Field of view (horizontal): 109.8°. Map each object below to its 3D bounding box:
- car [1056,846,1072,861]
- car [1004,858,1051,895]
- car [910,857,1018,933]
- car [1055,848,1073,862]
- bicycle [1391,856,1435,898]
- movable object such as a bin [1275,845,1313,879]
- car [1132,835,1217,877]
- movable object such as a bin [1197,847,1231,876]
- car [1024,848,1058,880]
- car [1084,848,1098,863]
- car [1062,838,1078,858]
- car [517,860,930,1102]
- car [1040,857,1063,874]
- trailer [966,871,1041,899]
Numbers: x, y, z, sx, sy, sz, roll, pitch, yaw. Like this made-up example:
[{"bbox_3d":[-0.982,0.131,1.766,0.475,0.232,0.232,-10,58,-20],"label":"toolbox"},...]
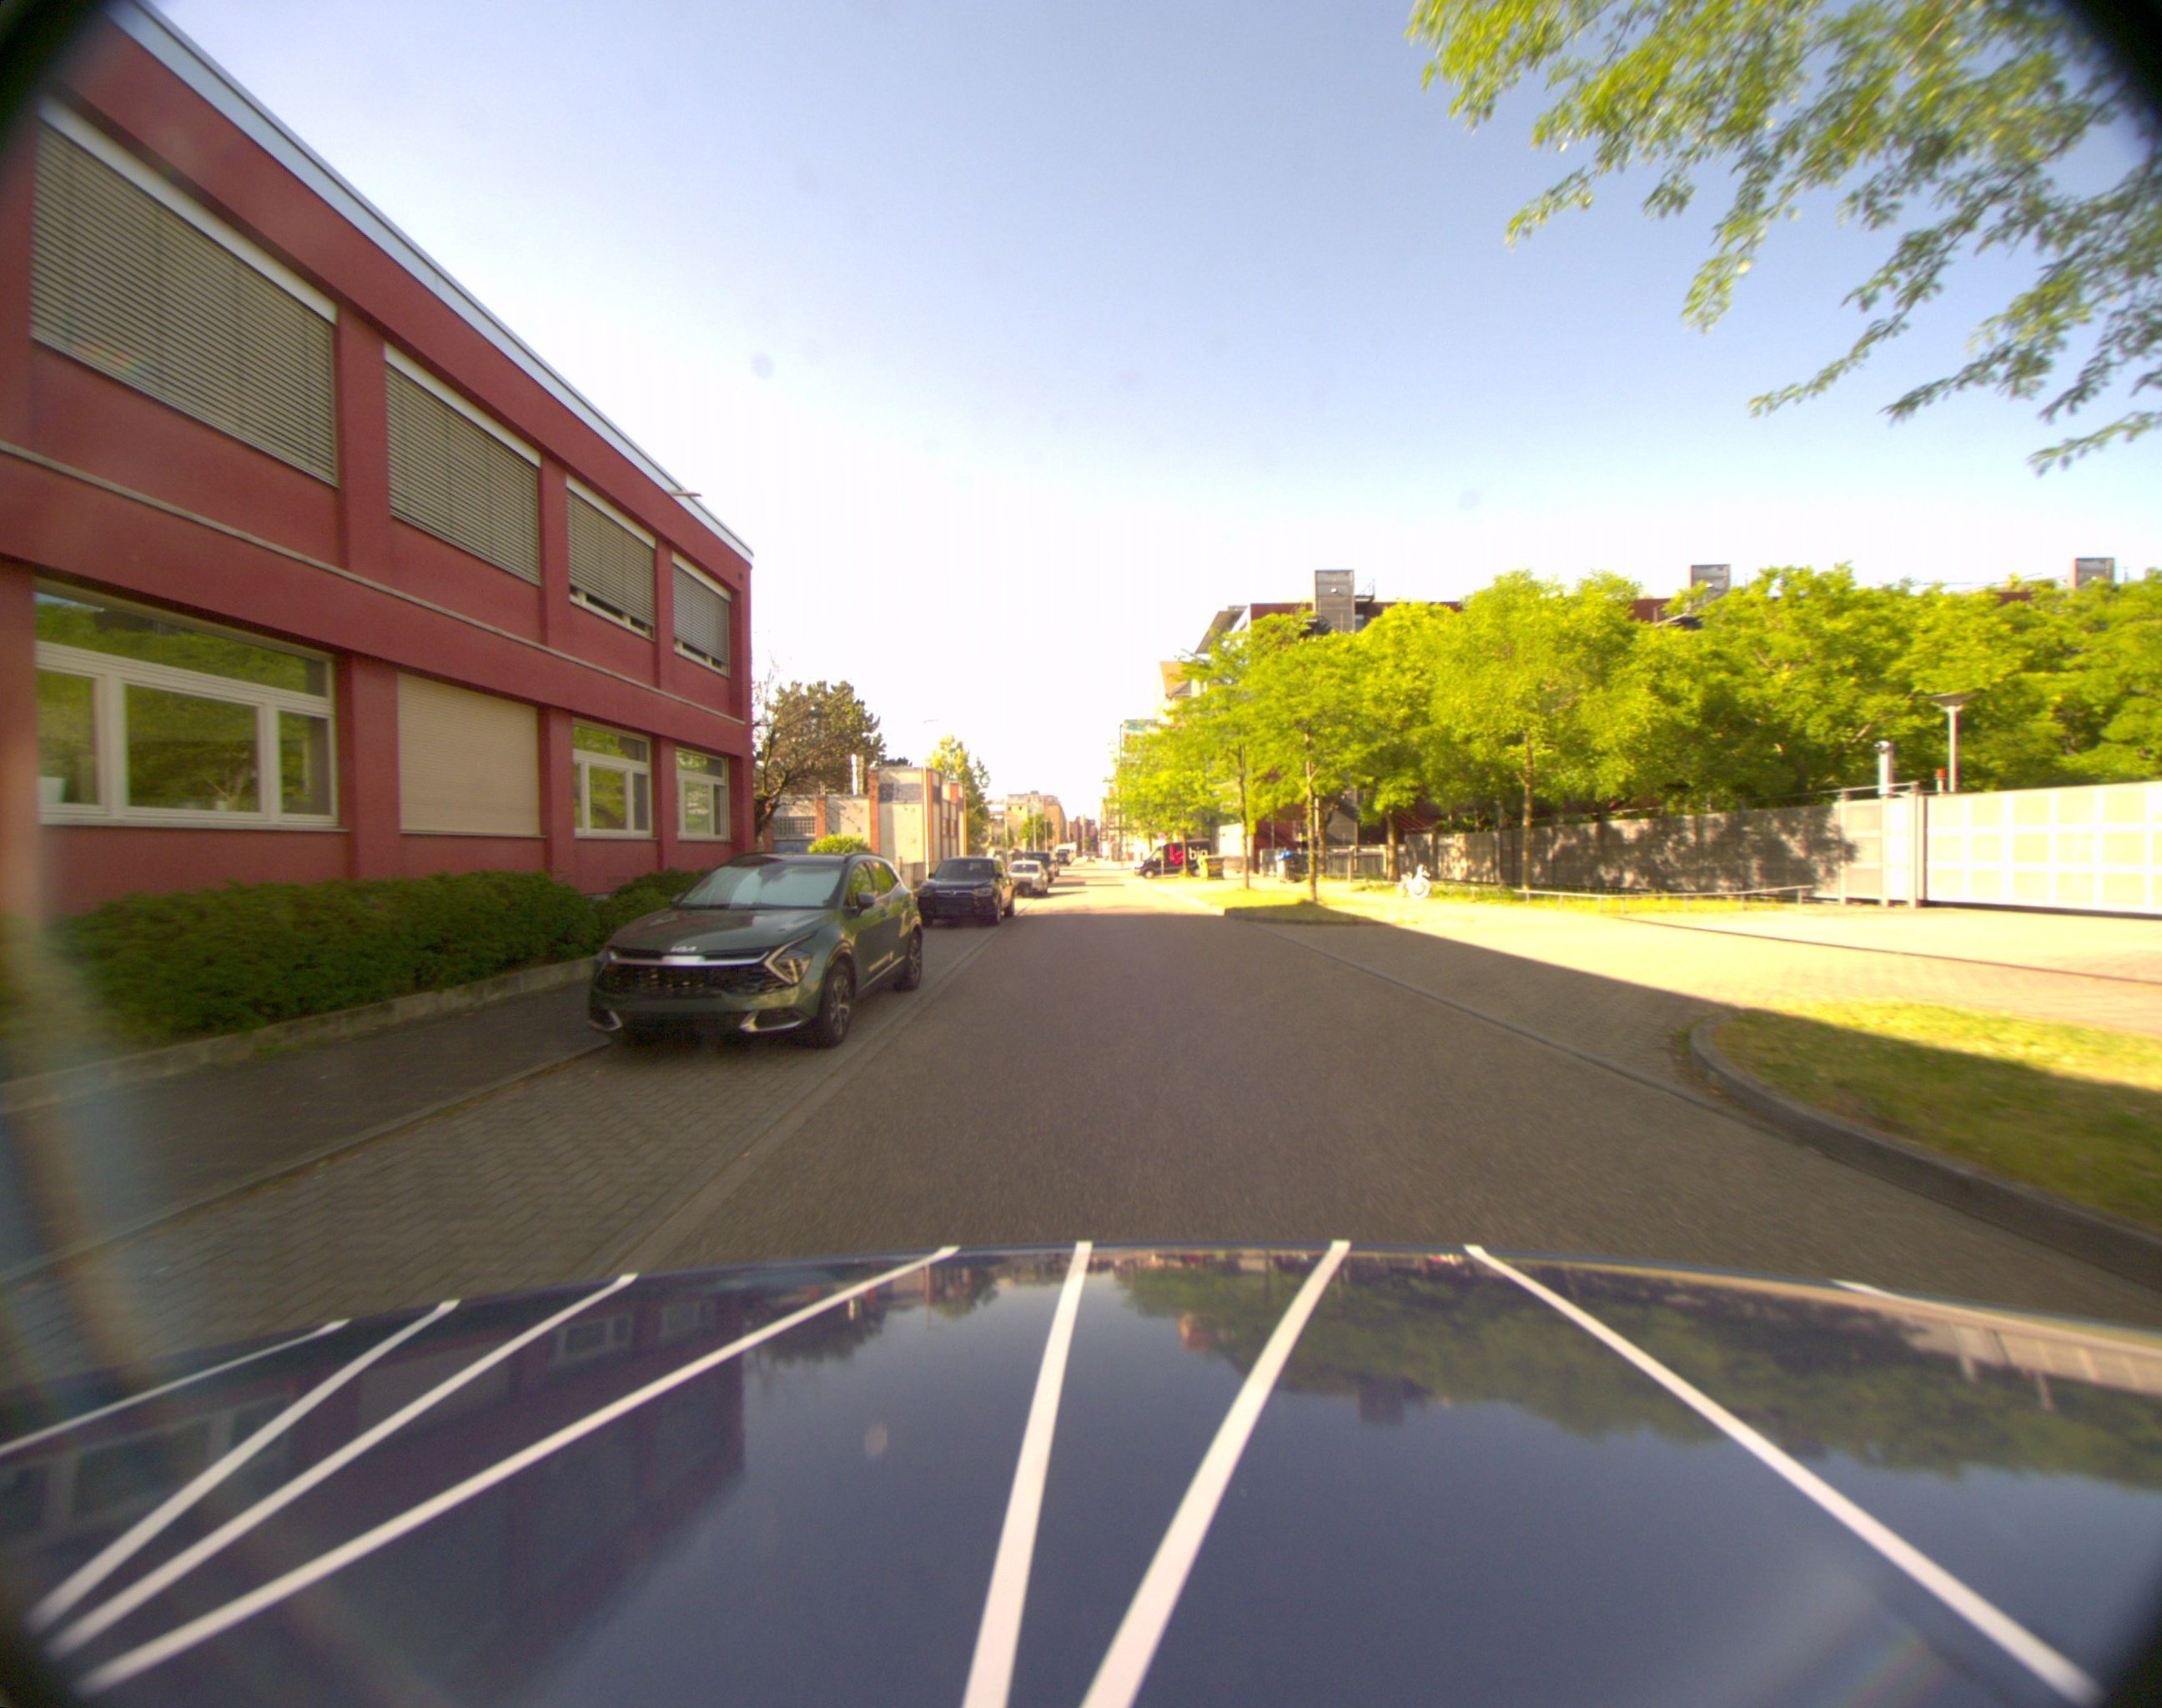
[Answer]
[{"bbox_3d":[-2.140,-0.096,99.535,1.903,1.974,4.372,0,0,1],"label":"car"},{"bbox_3d":[-2.293,0.939,33.218,1.699,1.448,3.889,0,0,1],"label":"car"},{"bbox_3d":[-2.740,0.894,18.784,1.878,1.620,4.406,0,0,1],"label":"car"},{"bbox_3d":[-2.027,0.084,90.777,1.903,1.585,4.372,0,0,1],"label":"car"},{"bbox_3d":[10.167,0.681,23.323,0.602,1.185,1.727,-2,0,1],"label":"bicycle"},{"bbox_3d":[10.373,0.387,36.992,1.522,1.559,1.347,-2,1,5],"label":"movable object such as a bin"},{"bbox_3d":[6.390,0.107,52.295,5.489,2.527,1.986,-3,1,0],"label":"car"},{"bbox_3d":[7.537,0.427,43.161,1.524,1.559,1.345,-2,1,-9],"label":"movable object such as a bin"},{"bbox_3d":[-2.545,0.635,49.274,1.903,1.974,4.372,0,0,1],"label":"car"},{"bbox_3d":[1.445,0.222,106.121,1.903,1.974,4.372,0,0,1],"label":"car"},{"bbox_3d":[-2.123,-1.189,150.723,2.913,3.920,6.326,0,0,2],"label":"car"},{"bbox_3d":[-2.912,0.900,7.448,1.903,1.620,4.372,0,0,1],"label":"car"},{"bbox_3d":[-2.470,0.961,64.677,1.777,1.281,4.095,0,0,1],"label":"car"},{"bbox_3d":[-2.980,1.184,29.713,1.563,0.922,2.986,0,0,27],"label":"trailer"}]
